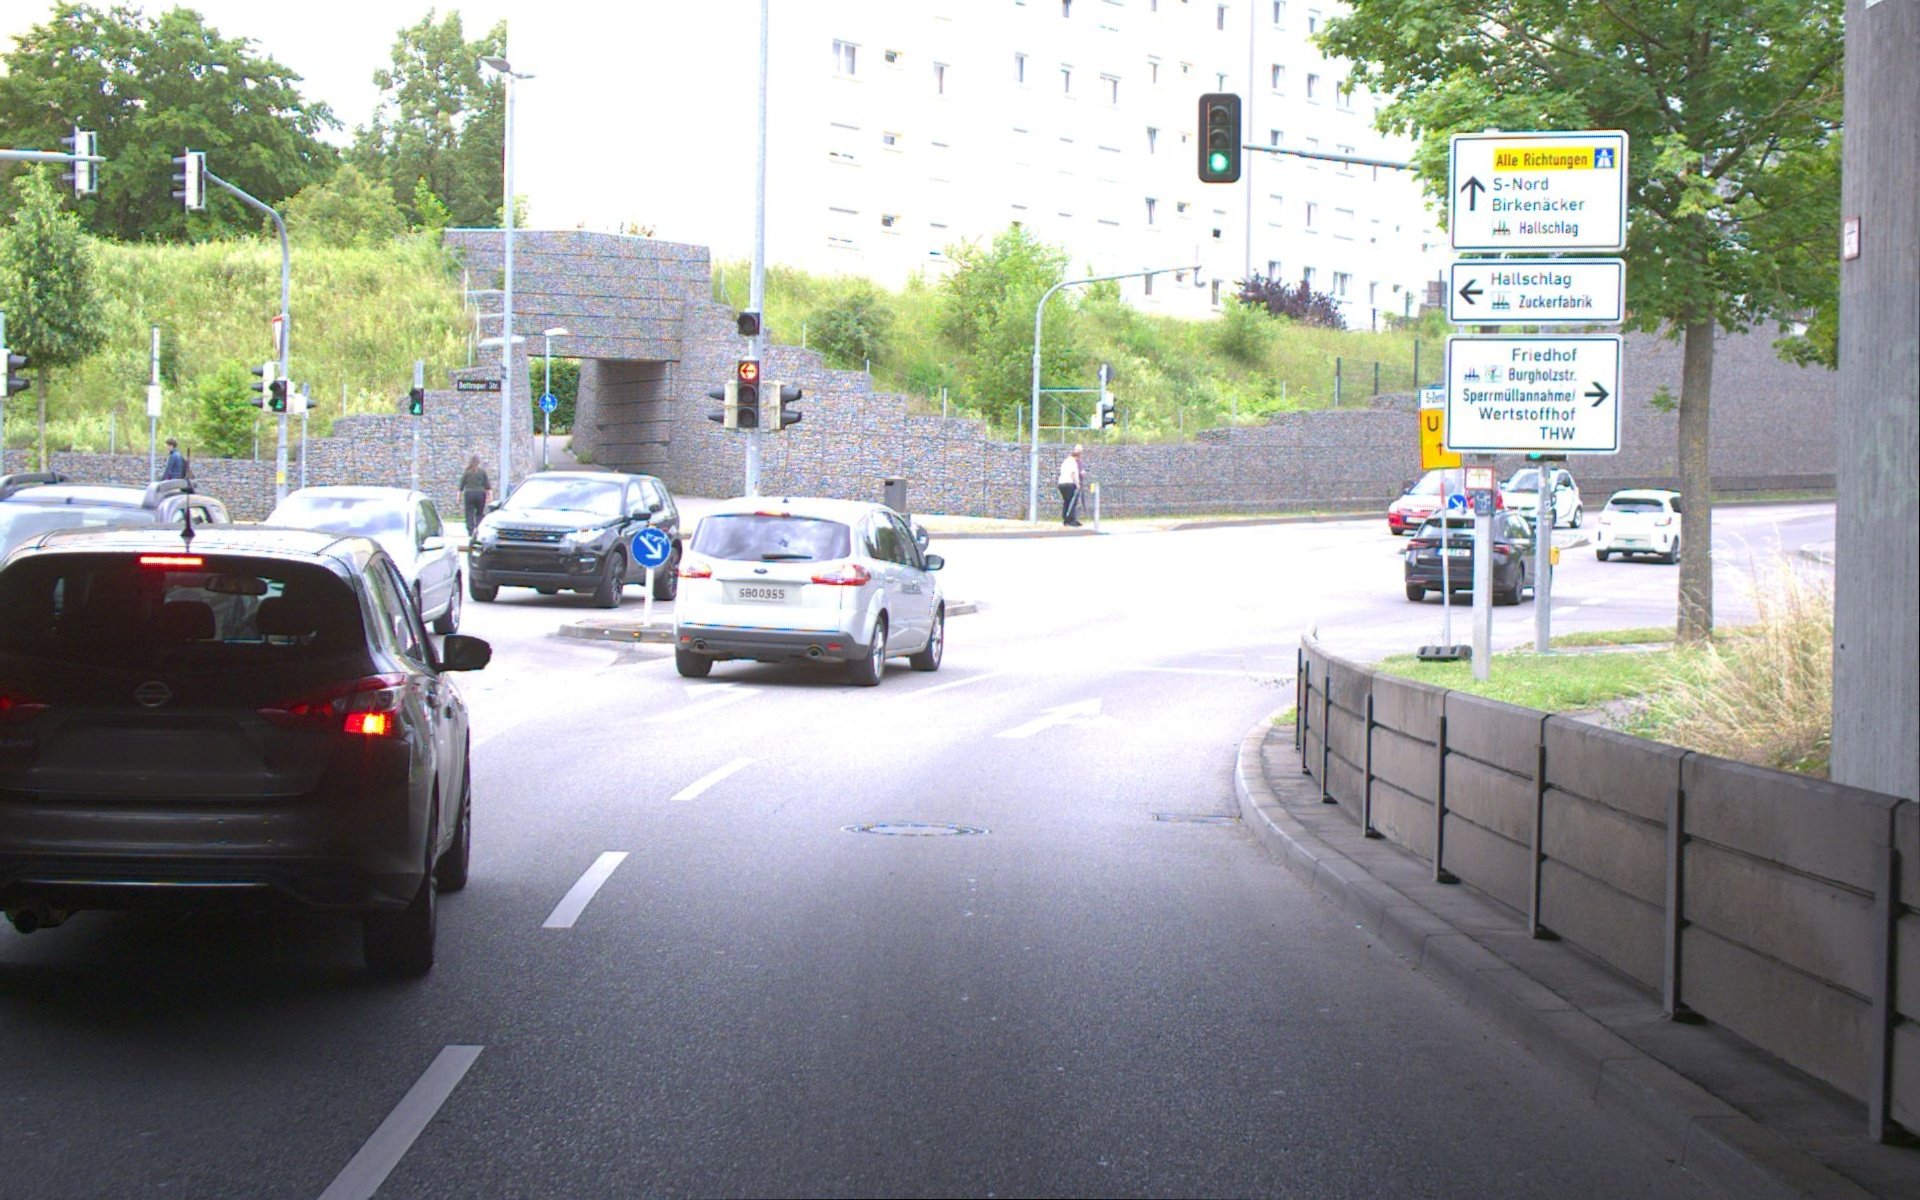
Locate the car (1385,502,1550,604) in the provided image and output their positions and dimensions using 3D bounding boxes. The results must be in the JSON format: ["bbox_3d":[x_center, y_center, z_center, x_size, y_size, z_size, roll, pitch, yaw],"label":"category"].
[{"bbox_3d":[8.065,-0.779,54.363,1.901,1.461,3.997,2,3,18],"label":"car"}]

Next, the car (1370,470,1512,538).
[{"bbox_3d":[11.577,-2.316,82.611,1.845,1.449,3.993,6,5,31],"label":"car"}]

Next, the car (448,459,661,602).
[{"bbox_3d":[-5.142,-0.915,44.076,1.994,1.692,4.167,2,2,3],"label":"car"}]

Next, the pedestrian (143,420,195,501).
[{"bbox_3d":[-15.925,-2.809,69.233,0.952,1.607,0.700,2,2,-11],"label":"pedestrian"}]

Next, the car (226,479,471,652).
[{"bbox_3d":[-6.053,-0.391,34.438,1.763,1.586,4.001,1,2,-1],"label":"car"}]

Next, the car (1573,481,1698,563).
[{"bbox_3d":[14.193,-1.635,72.051,1.995,1.612,3.996,2,2,19],"label":"car"}]

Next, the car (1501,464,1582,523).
[{"bbox_3d":[14.935,-2.725,88.253,1.162,1.361,2.501,6,3,29],"label":"car"}]

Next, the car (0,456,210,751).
[{"bbox_3d":[-6.022,-0.061,22.411,1.686,1.702,3.791,2,2,-5],"label":"car"}]

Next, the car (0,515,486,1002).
[{"bbox_3d":[-2.791,0.458,12.826,1.844,1.488,4.001,2,1,-6],"label":"car"}]

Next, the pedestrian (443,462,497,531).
[{"bbox_3d":[-9.342,-1.983,65.586,0.910,1.219,0.729,5,2,-10],"label":"pedestrian"}]

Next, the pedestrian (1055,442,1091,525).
[{"bbox_3d":[2.582,-2.654,78.453,0.604,1.856,0.597,2,2,-16],"label":"pedestrian"}]

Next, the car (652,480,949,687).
[{"bbox_3d":[-1.395,-0.196,31.638,1.831,1.700,3.867,3,2,10],"label":"car"}]
